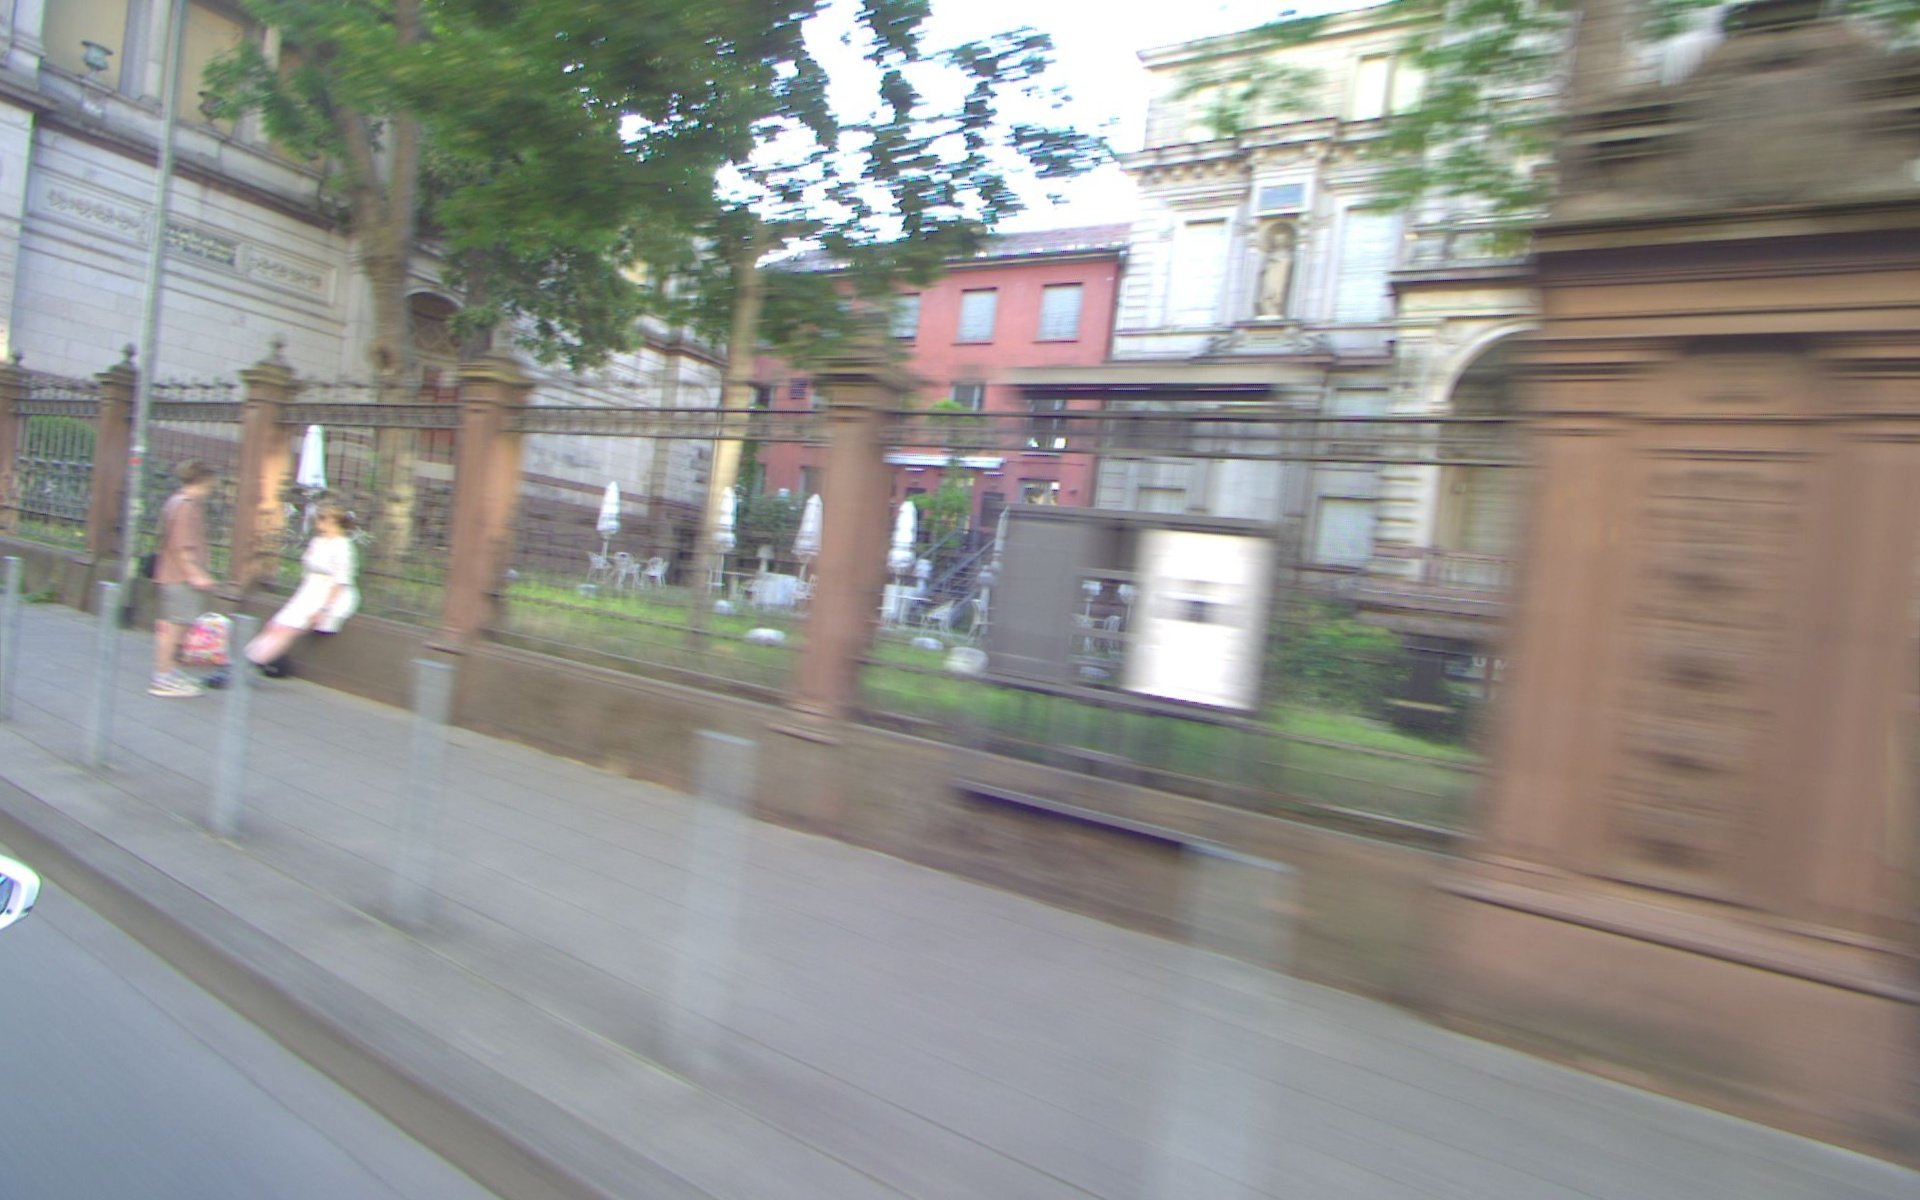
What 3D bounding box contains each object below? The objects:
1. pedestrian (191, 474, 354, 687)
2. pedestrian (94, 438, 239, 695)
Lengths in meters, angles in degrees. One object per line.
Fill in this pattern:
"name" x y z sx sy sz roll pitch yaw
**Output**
"pedestrian" -5.308 -0.143 7.786 0.608 1.520 0.750 7 3 26
"pedestrian" -5.530 -0.231 7.013 0.607 1.680 0.485 7 3 25
